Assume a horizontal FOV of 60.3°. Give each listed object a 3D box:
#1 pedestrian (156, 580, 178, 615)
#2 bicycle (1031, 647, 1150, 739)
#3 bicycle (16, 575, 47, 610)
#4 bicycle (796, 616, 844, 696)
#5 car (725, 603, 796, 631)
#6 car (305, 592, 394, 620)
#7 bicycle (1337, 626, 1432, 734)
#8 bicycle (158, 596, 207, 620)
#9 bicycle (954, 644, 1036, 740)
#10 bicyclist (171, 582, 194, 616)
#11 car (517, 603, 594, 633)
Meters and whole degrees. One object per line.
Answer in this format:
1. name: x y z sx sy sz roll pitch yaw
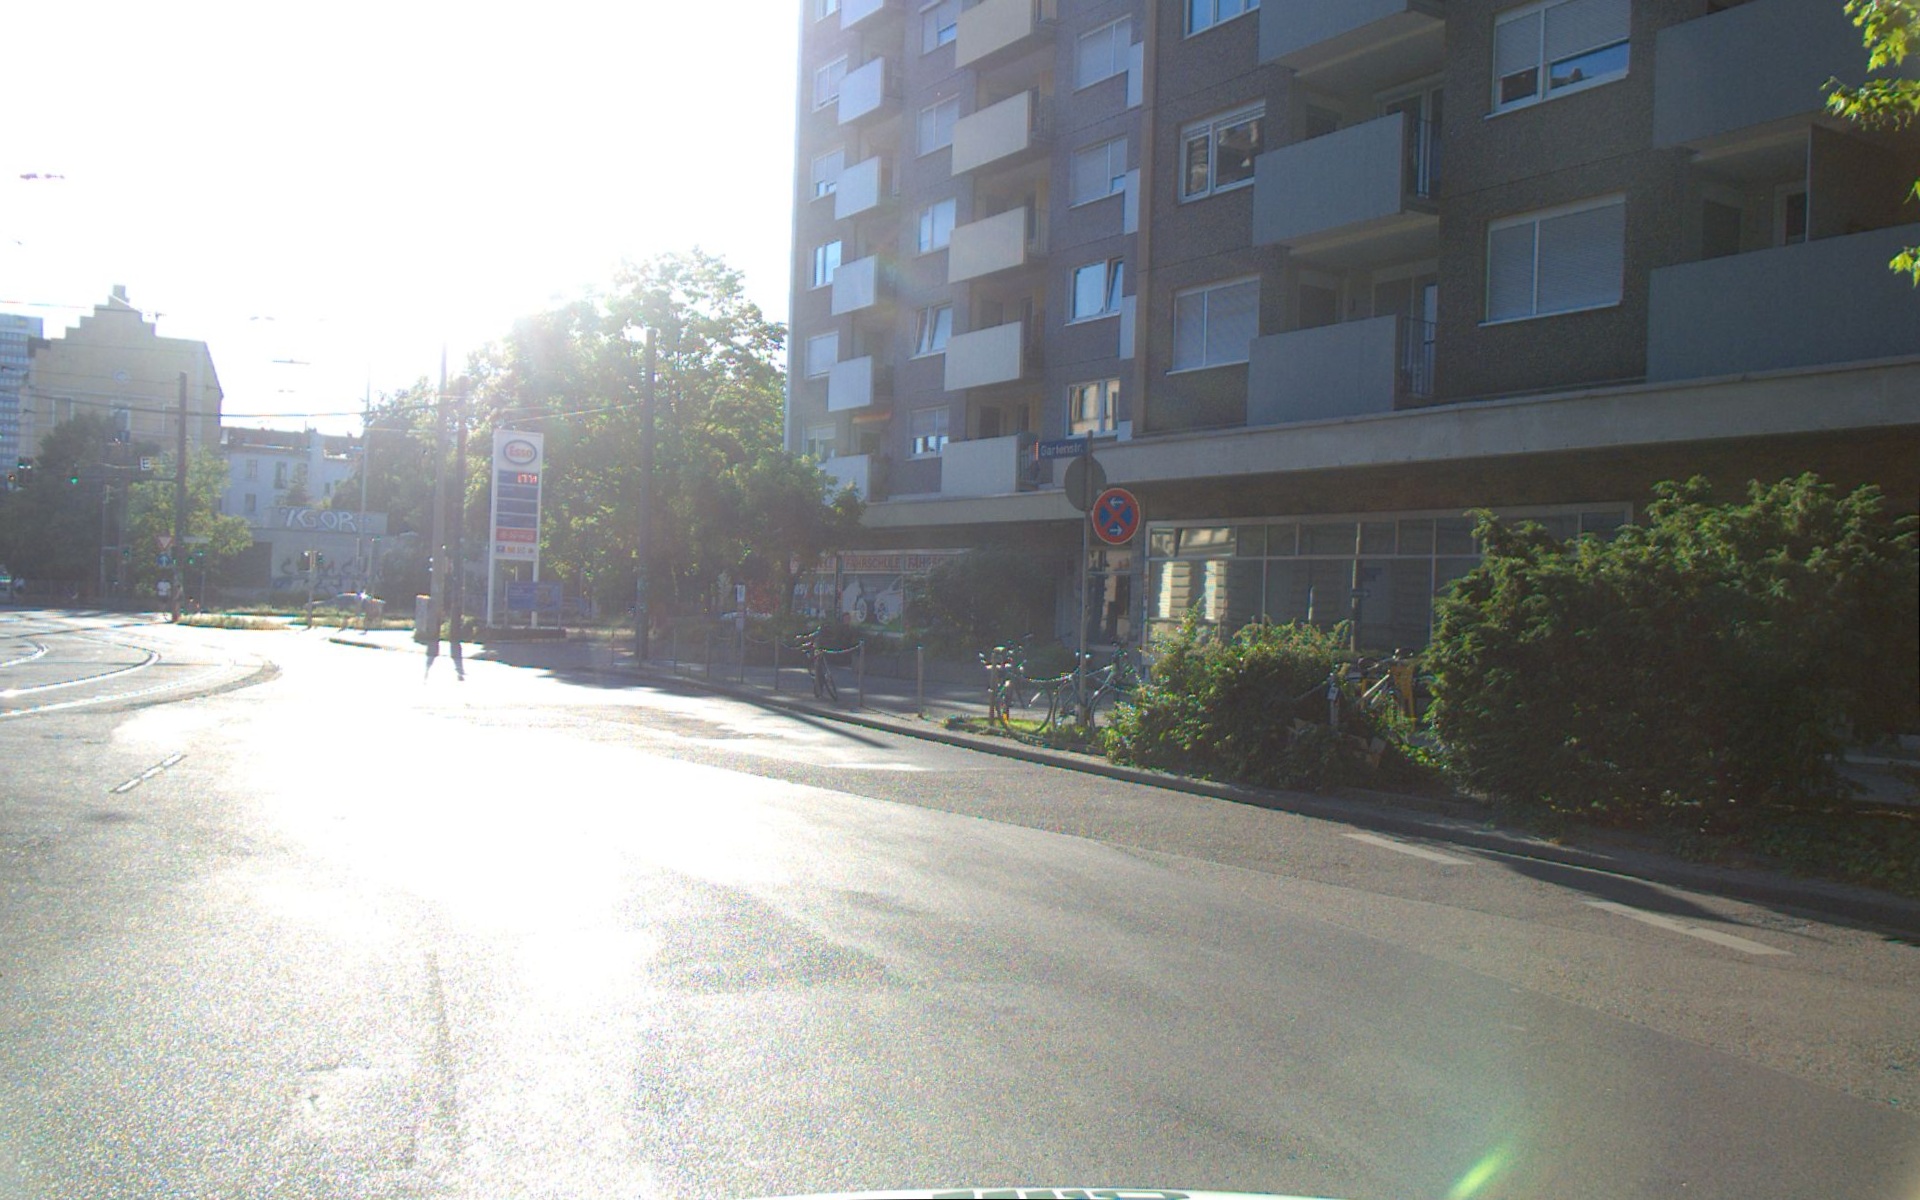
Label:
1. pedestrian: -40.609 -0.130 84.656 0.916 1.722 0.770 2 -1 -30
2. bicycle: 1.427 1.017 18.424 0.535 0.920 1.722 2 0 -25
3. bicycle: -49.707 -0.418 88.556 1.336 1.838 0.563 1 0 -23
4. bicycle: -2.326 0.904 27.313 0.626 1.247 2.084 1 0 -9
5. car: -11.683 0.998 96.909 3.922 1.534 1.665 2 -1 -16
6. car: -34.393 0.338 93.272 4.395 1.513 1.776 1 0 -11
7. bicycle: 4.368 0.813 17.065 0.344 1.056 1.044 1 0 -26
8. bicycle: -33.668 0.335 71.597 1.816 1.002 0.726 2 -1 -34
9. bicycle: 0.399 1.087 19.958 0.626 1.040 2.084 1 0 -9
10. bicyclist: -33.650 -0.025 71.591 0.796 1.438 0.617 2 -1 -33
11. car: -21.720 0.979 88.740 3.921 1.478 1.802 2 -1 -15
